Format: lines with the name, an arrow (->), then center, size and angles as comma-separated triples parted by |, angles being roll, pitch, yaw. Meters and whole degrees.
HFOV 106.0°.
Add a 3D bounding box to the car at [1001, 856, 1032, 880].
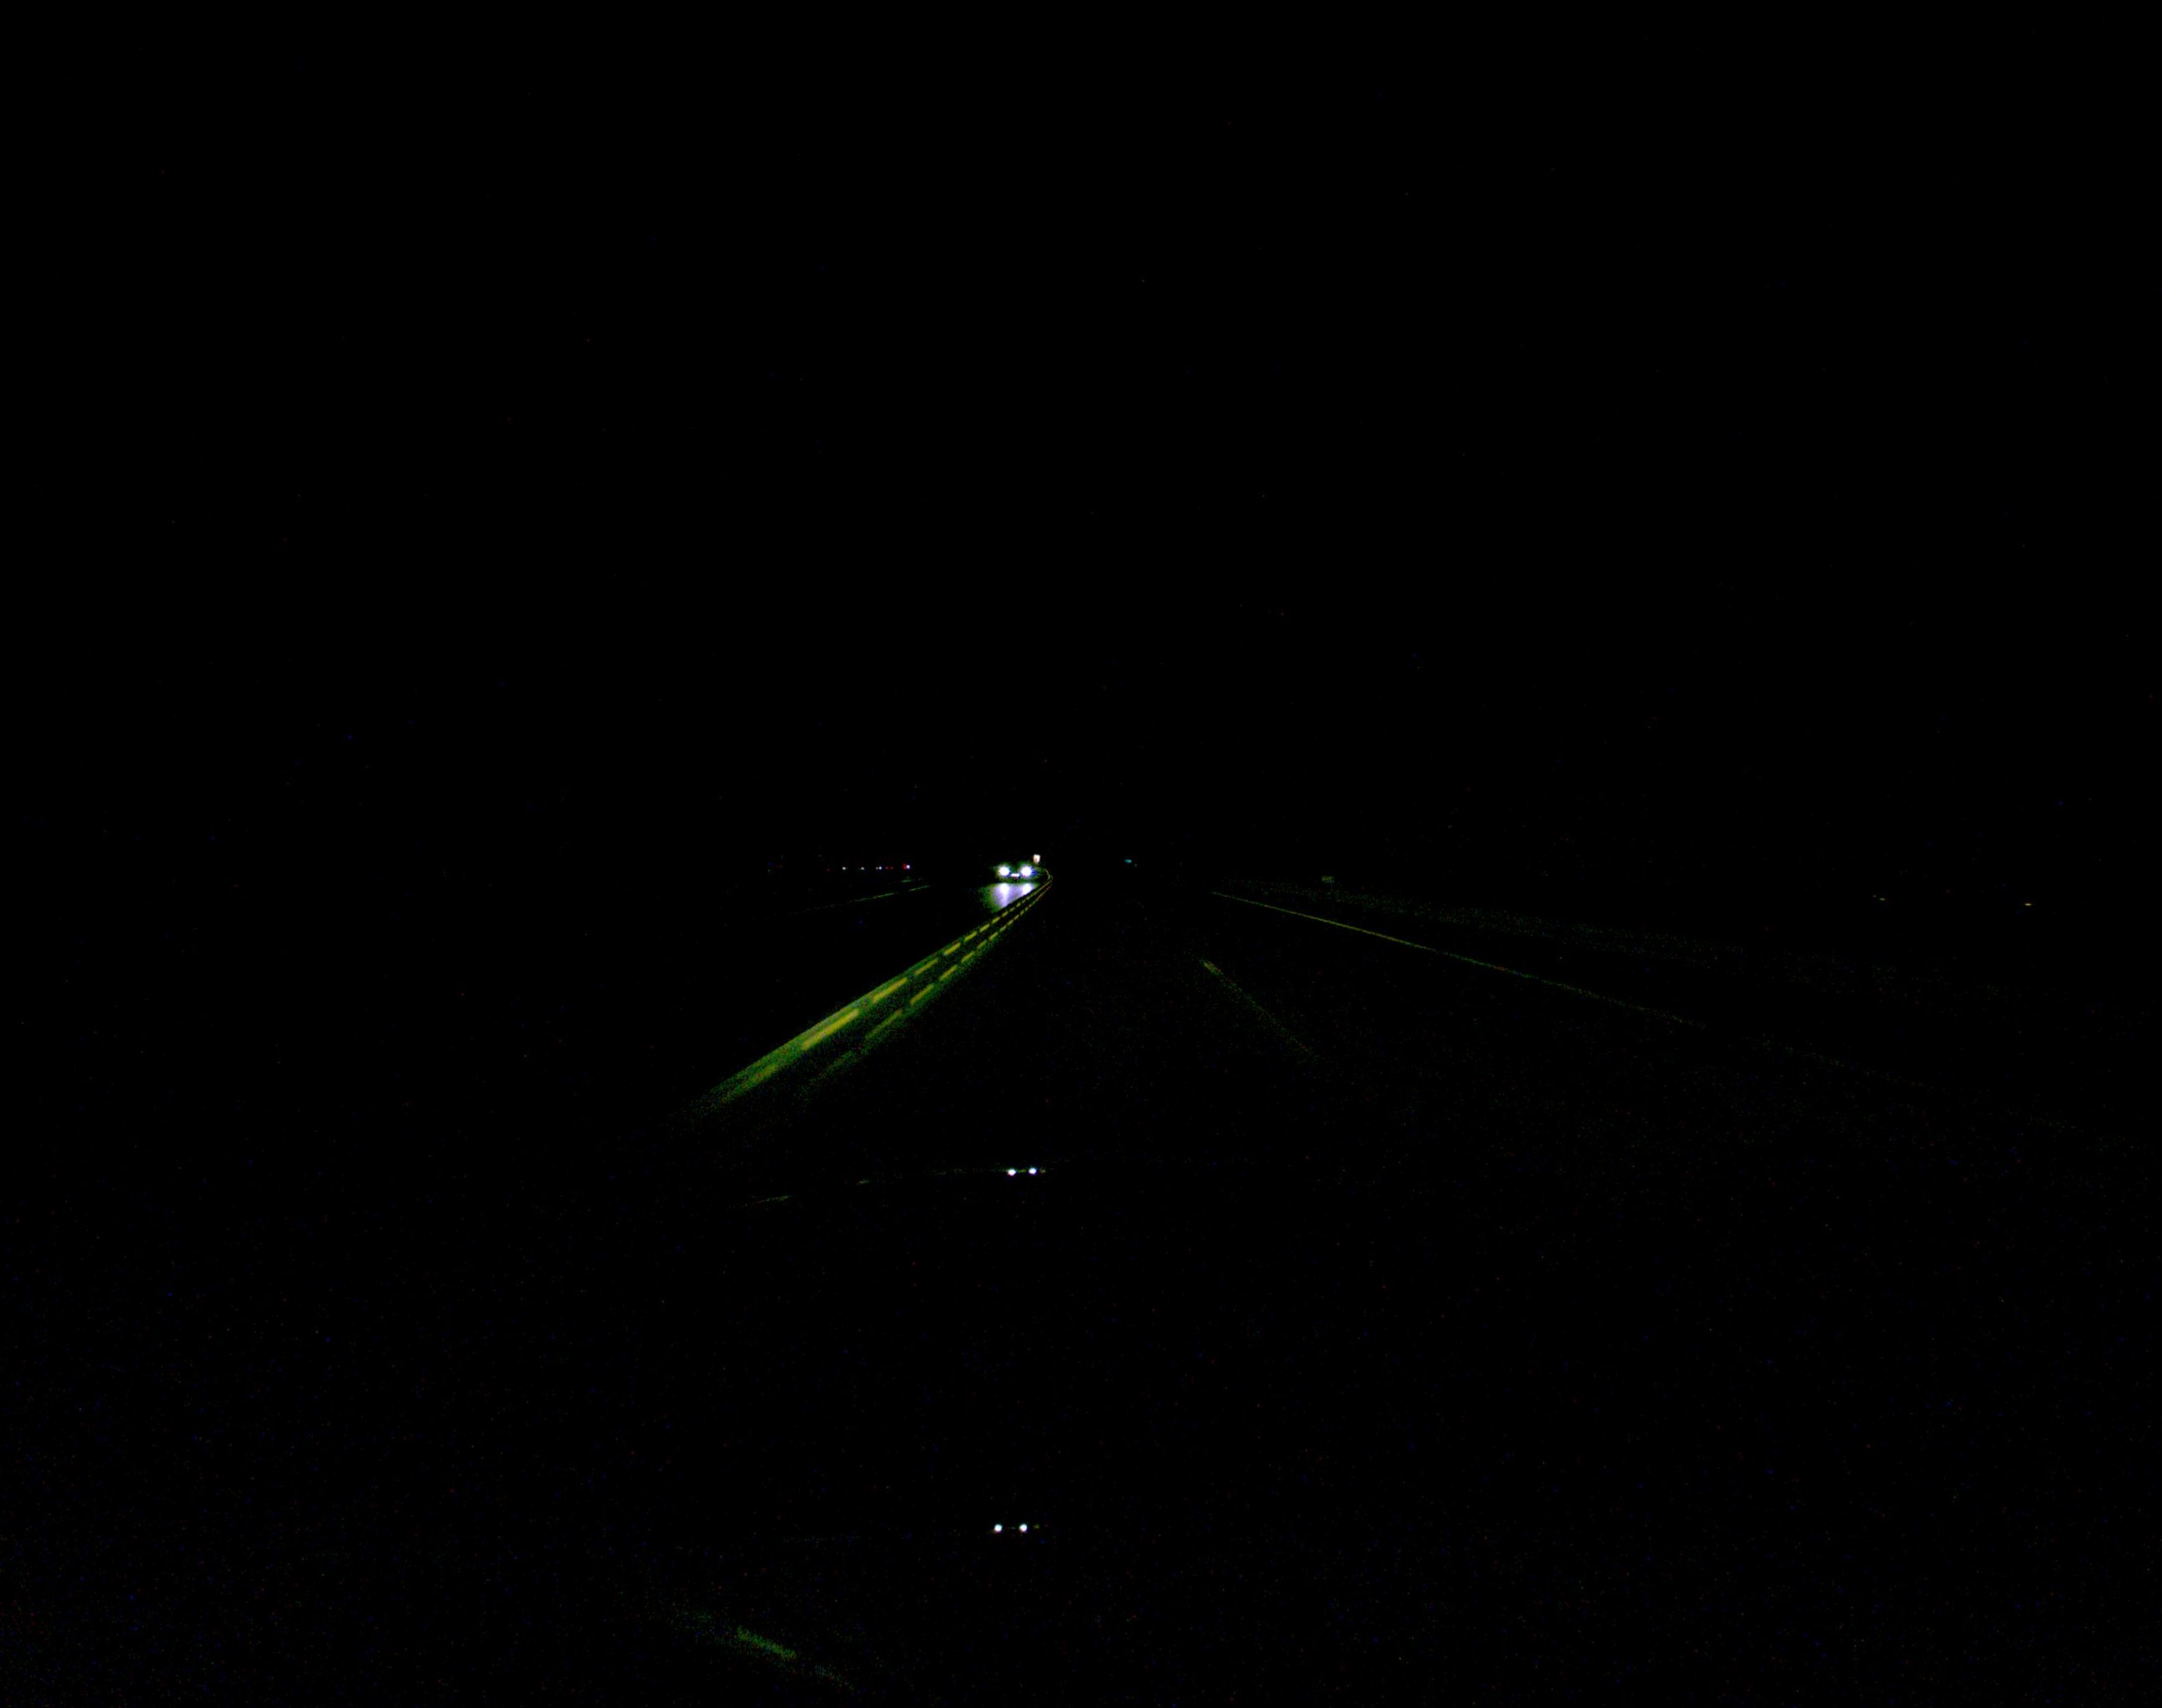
car -> -4.293, 0.957, 54.861 | 1.813, 1.516, 4.520 | -2, -1, -1
